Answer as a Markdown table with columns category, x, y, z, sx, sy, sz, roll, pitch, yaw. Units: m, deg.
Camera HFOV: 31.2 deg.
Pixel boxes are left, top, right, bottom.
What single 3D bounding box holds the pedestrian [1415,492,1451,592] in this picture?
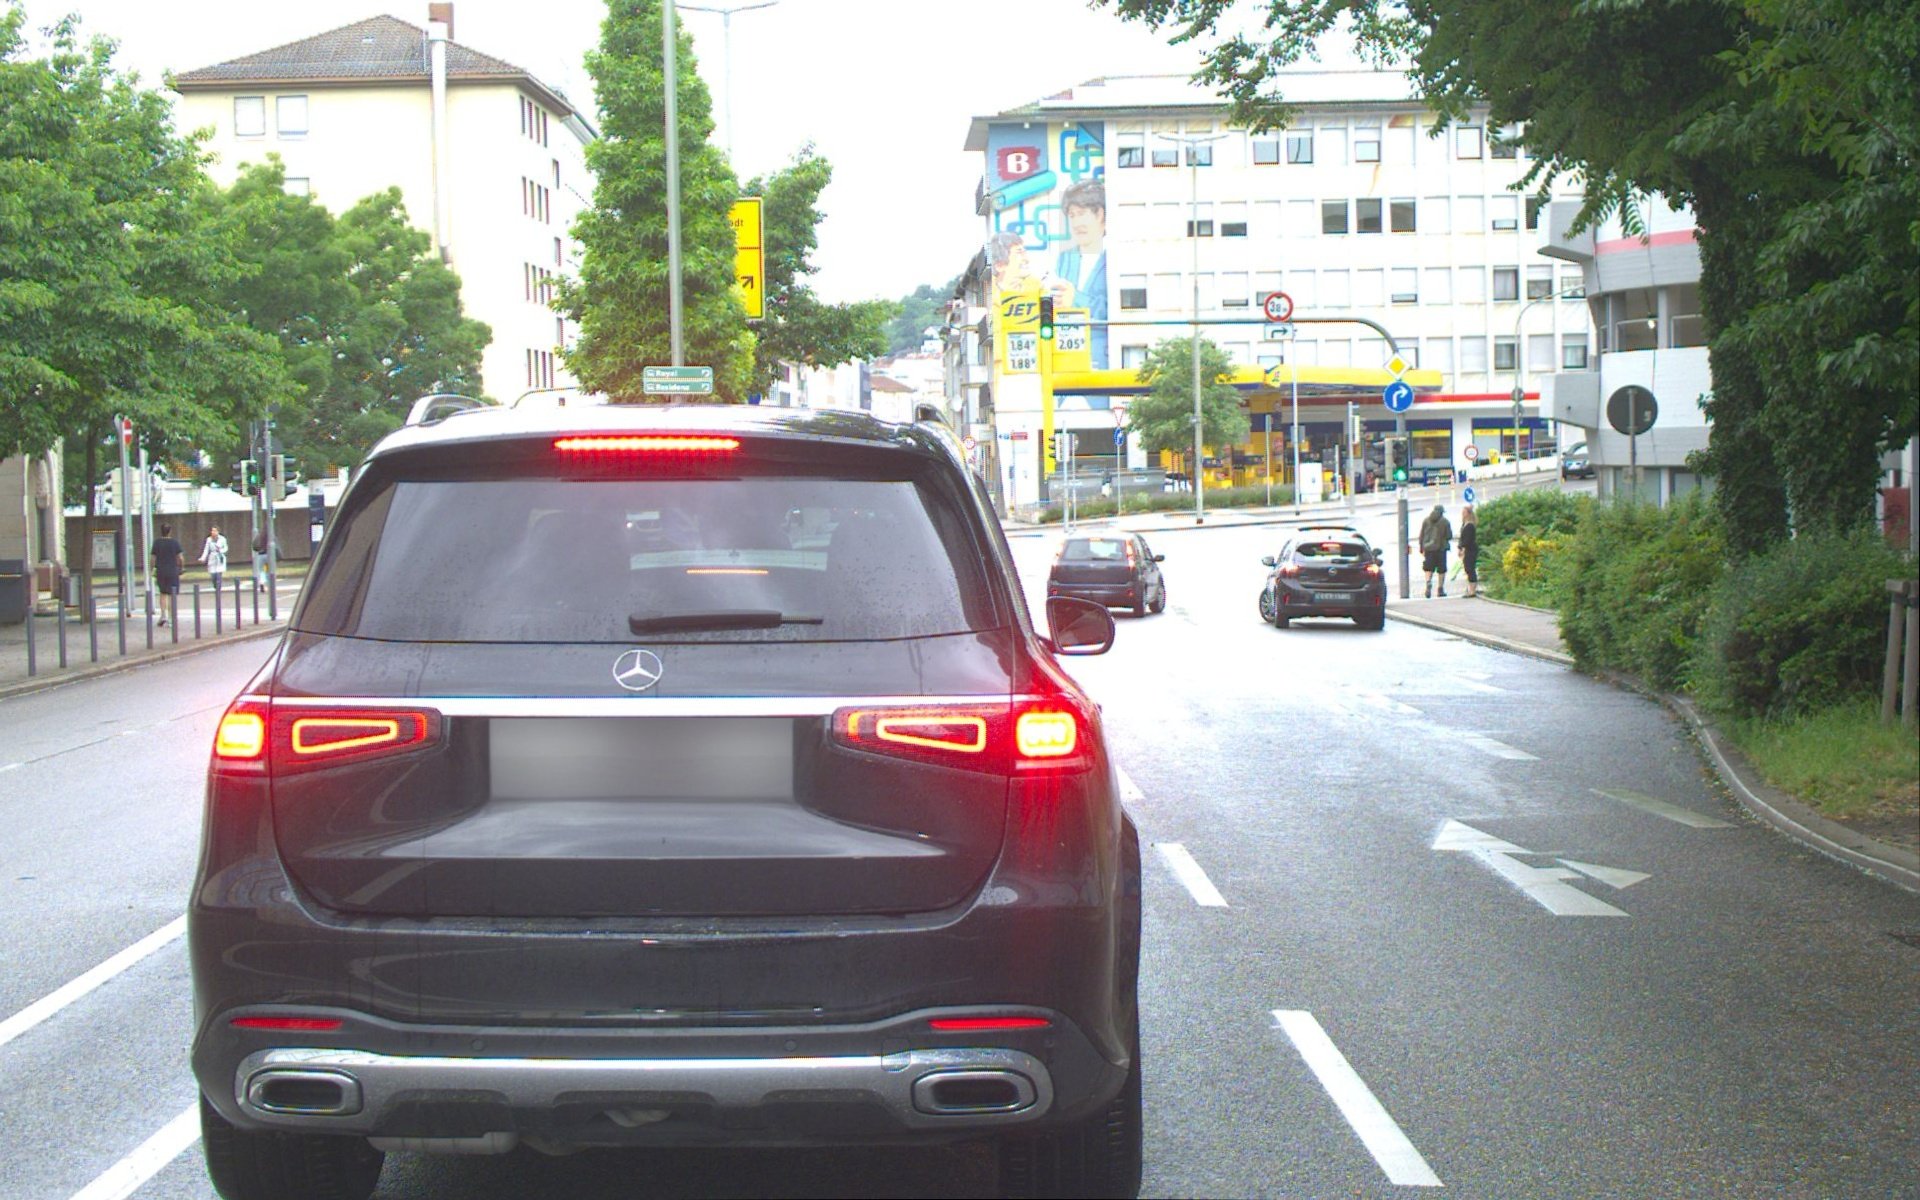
| category | x | y | z | sx | sy | sz | roll | pitch | yaw |
| --- | --- | --- | --- | --- | --- | --- | --- | --- | --- |
| pedestrian | 9.191 | -1.131 | 66.786 | 0.620 | 1.929 | 0.610 | 1 | 0 | 3 |

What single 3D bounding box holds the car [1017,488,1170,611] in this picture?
| category | x | y | z | sx | sy | sz | roll | pitch | yaw |
| --- | --- | --- | --- | --- | --- | --- | --- | --- | --- |
| car | 2.256 | -0.859 | 59.109 | 1.993 | 2.007 | 4.001 | 1 | 0 | -7 |

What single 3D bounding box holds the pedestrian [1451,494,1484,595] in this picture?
| category | x | y | z | sx | sy | sz | roll | pitch | yaw |
| --- | --- | --- | --- | --- | --- | --- | --- | --- | --- |
| pedestrian | 9.664 | -1.054 | 65.449 | 0.519 | 1.904 | 0.556 | 1 | 0 | -1 |

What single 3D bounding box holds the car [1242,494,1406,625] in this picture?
| category | x | y | z | sx | sy | sz | roll | pitch | yaw |
| --- | --- | --- | --- | --- | --- | --- | --- | --- | --- |
| car | 5.733 | -0.671 | 54.583 | 1.993 | 2.007 | 4.001 | 0 | 1 | -2 |

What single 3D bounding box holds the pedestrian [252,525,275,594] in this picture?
| category | x | y | z | sx | sy | sz | roll | pitch | yaw |
| --- | --- | --- | --- | --- | --- | --- | --- | --- | --- |
| pedestrian | -16.642 | -0.961 | 82.148 | 0.399 | 1.639 | 0.567 | 1 | 0 | -1 |

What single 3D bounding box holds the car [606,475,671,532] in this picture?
| category | x | y | z | sx | sy | sz | roll | pitch | yaw |
| --- | --- | --- | --- | --- | --- | --- | --- | --- | --- |
| car | -11.300 | -3.377 | 121.036 | 1.993 | 1.868 | 5.142 | 1 | 0 | -2 |

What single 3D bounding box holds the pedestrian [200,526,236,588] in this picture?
| category | x | y | z | sx | sy | sz | roll | pitch | yaw |
| --- | --- | --- | --- | --- | --- | --- | --- | --- | --- |
| pedestrian | -17.479 | -1.014 | 80.999 | 0.711 | 1.457 | 0.598 | 1 | 0 | -2 |

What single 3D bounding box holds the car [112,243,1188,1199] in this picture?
| category | x | y | z | sx | sy | sz | roll | pitch | yaw |
| --- | --- | --- | --- | --- | --- | --- | --- | --- | --- |
| car | -0.649 | 0.334 | 8.471 | 1.993 | 2.007 | 4.000 | 1 | 0 | -2 |

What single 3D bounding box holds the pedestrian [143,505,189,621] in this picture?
| category | x | y | z | sx | sy | sz | roll | pitch | yaw |
| --- | --- | --- | --- | --- | --- | --- | --- | --- | --- |
| pedestrian | -13.868 | -0.646 | 60.044 | 0.587 | 2.007 | 0.749 | 2 | 0 | -2 |
